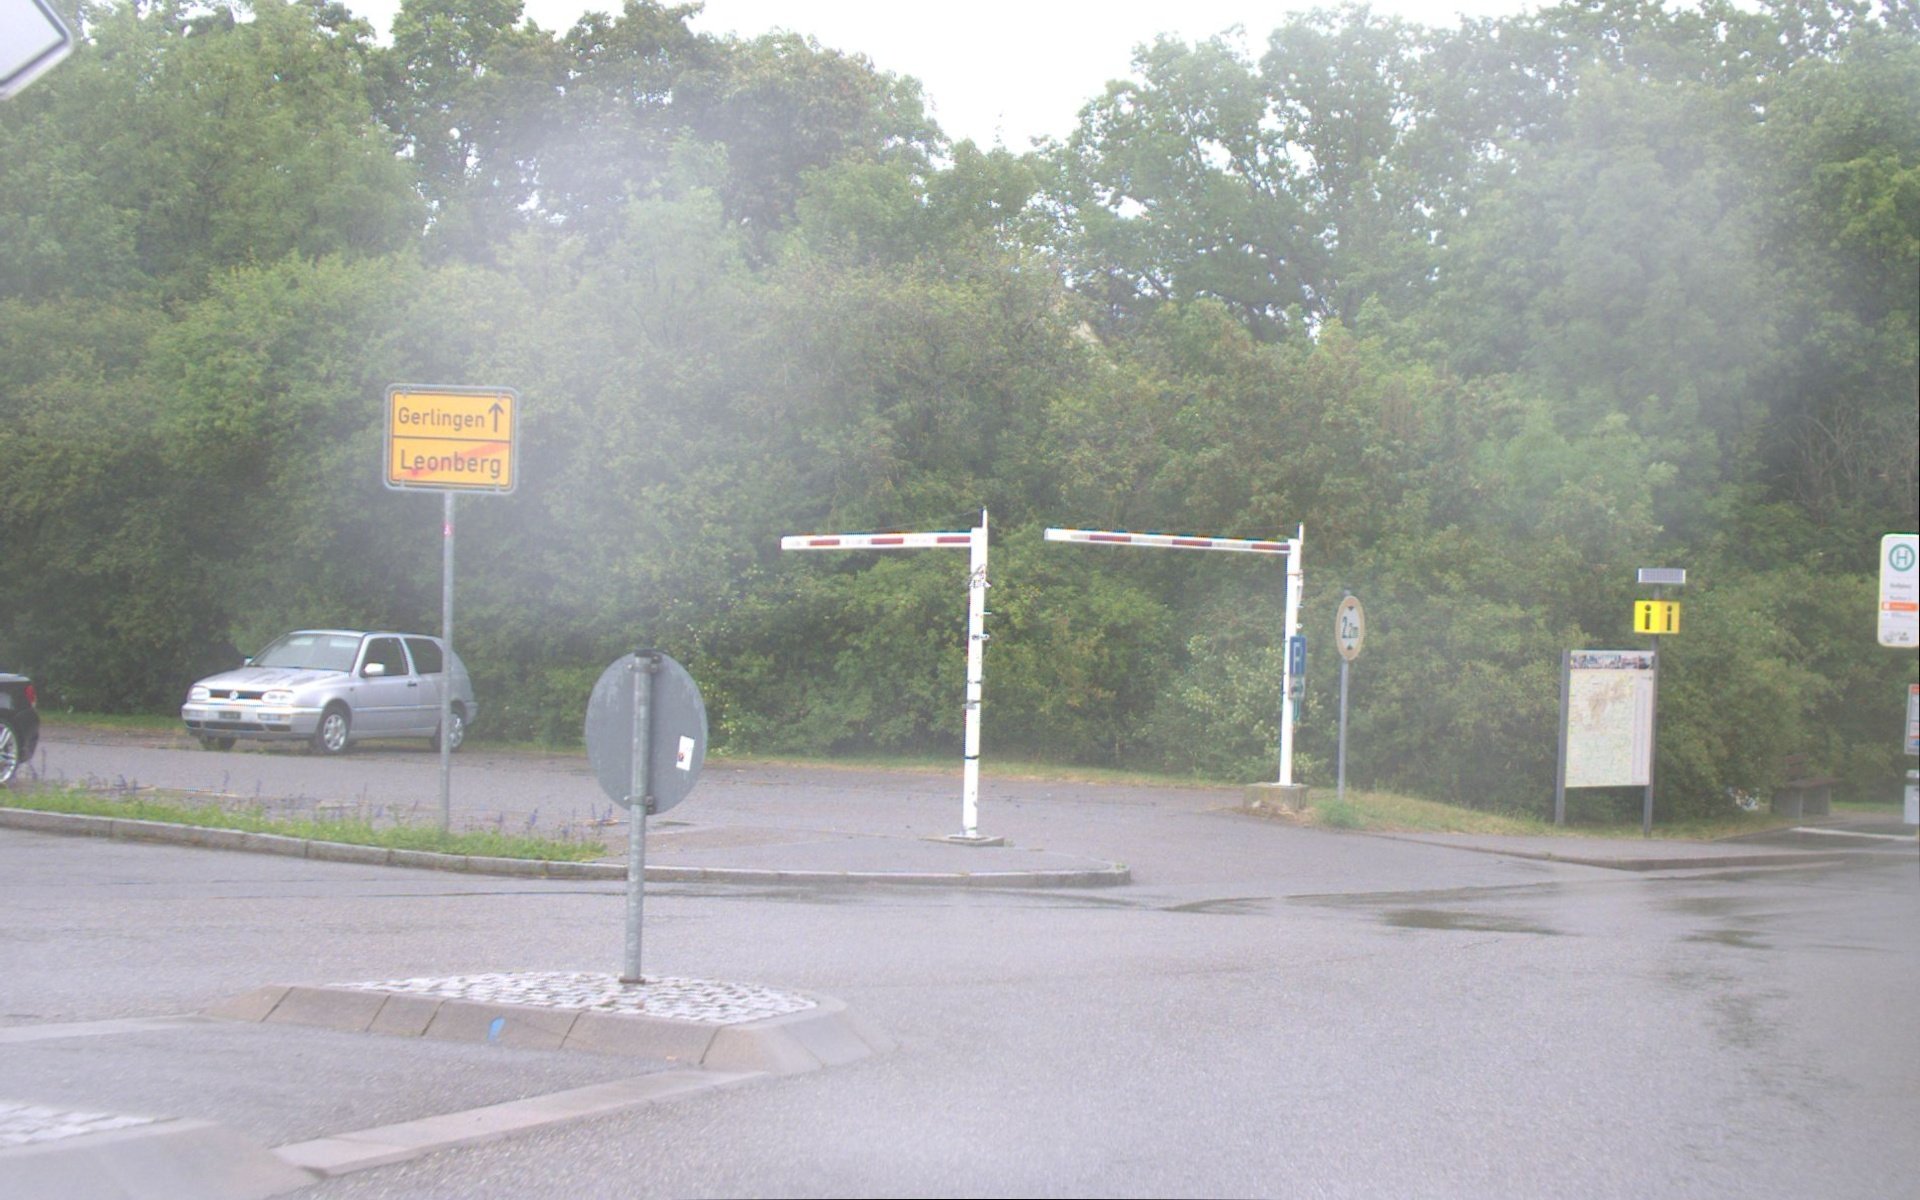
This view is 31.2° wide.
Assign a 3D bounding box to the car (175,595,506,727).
[{"bbox_3d":[-6.985,0.718,39.164,1.604,1.351,4.116,2,-1,24],"label":"car"}]

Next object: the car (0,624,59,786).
[{"bbox_3d":[-9.264,0.781,27.742,1.622,1.351,4.184,2,-2,22],"label":"car"}]
